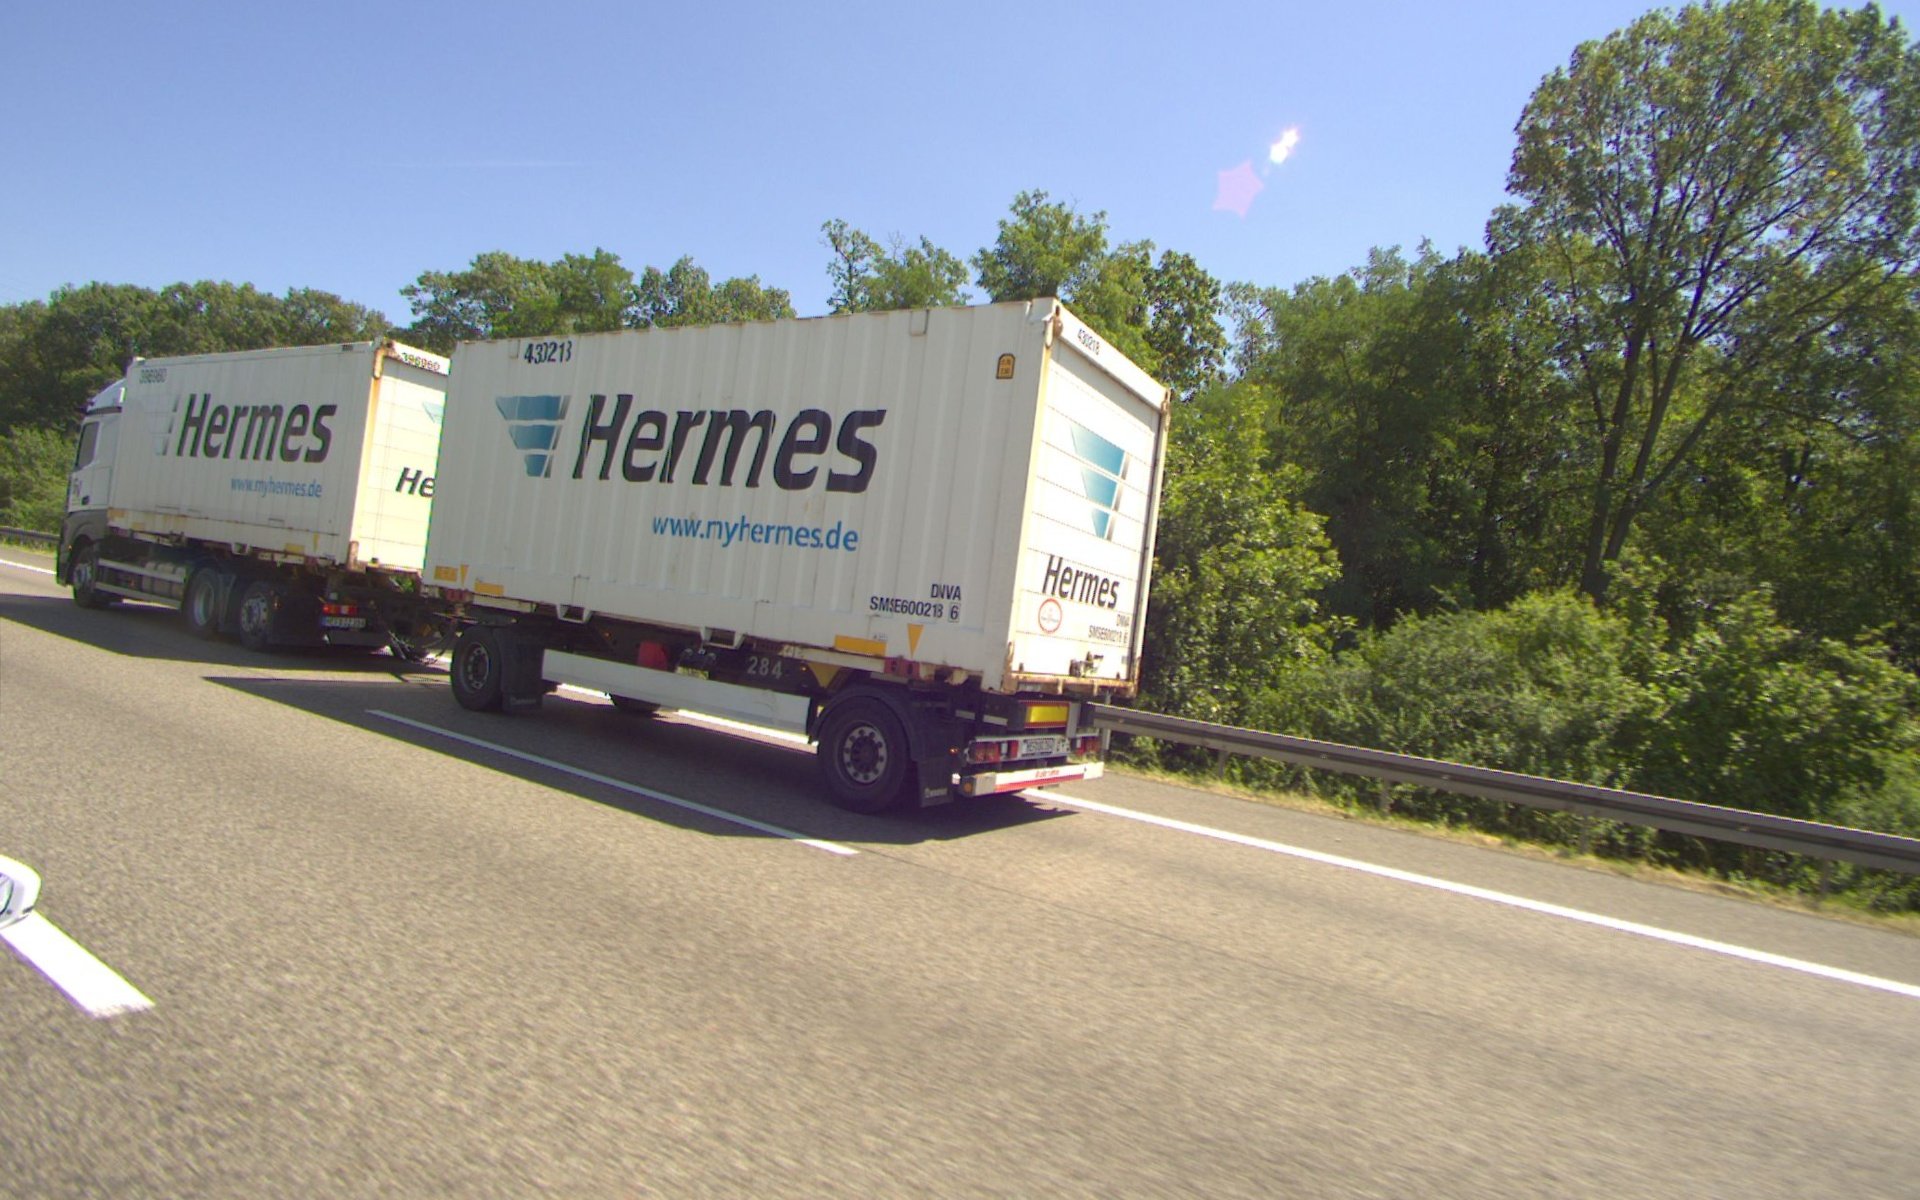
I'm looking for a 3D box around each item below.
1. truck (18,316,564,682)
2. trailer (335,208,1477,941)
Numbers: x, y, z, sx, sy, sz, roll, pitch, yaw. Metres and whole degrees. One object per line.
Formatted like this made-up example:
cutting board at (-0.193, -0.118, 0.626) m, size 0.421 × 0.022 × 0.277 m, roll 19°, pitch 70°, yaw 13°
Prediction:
truck at (-10.744, -1.557, 15.471) m, size 10.493 × 4.178 × 2.531 m, roll 6°, pitch -1°, yaw 32°
trailer at (-1.553, -0.522, 9.635) m, size 11.078 × 4.107 × 2.559 m, roll 6°, pitch -1°, yaw 32°
